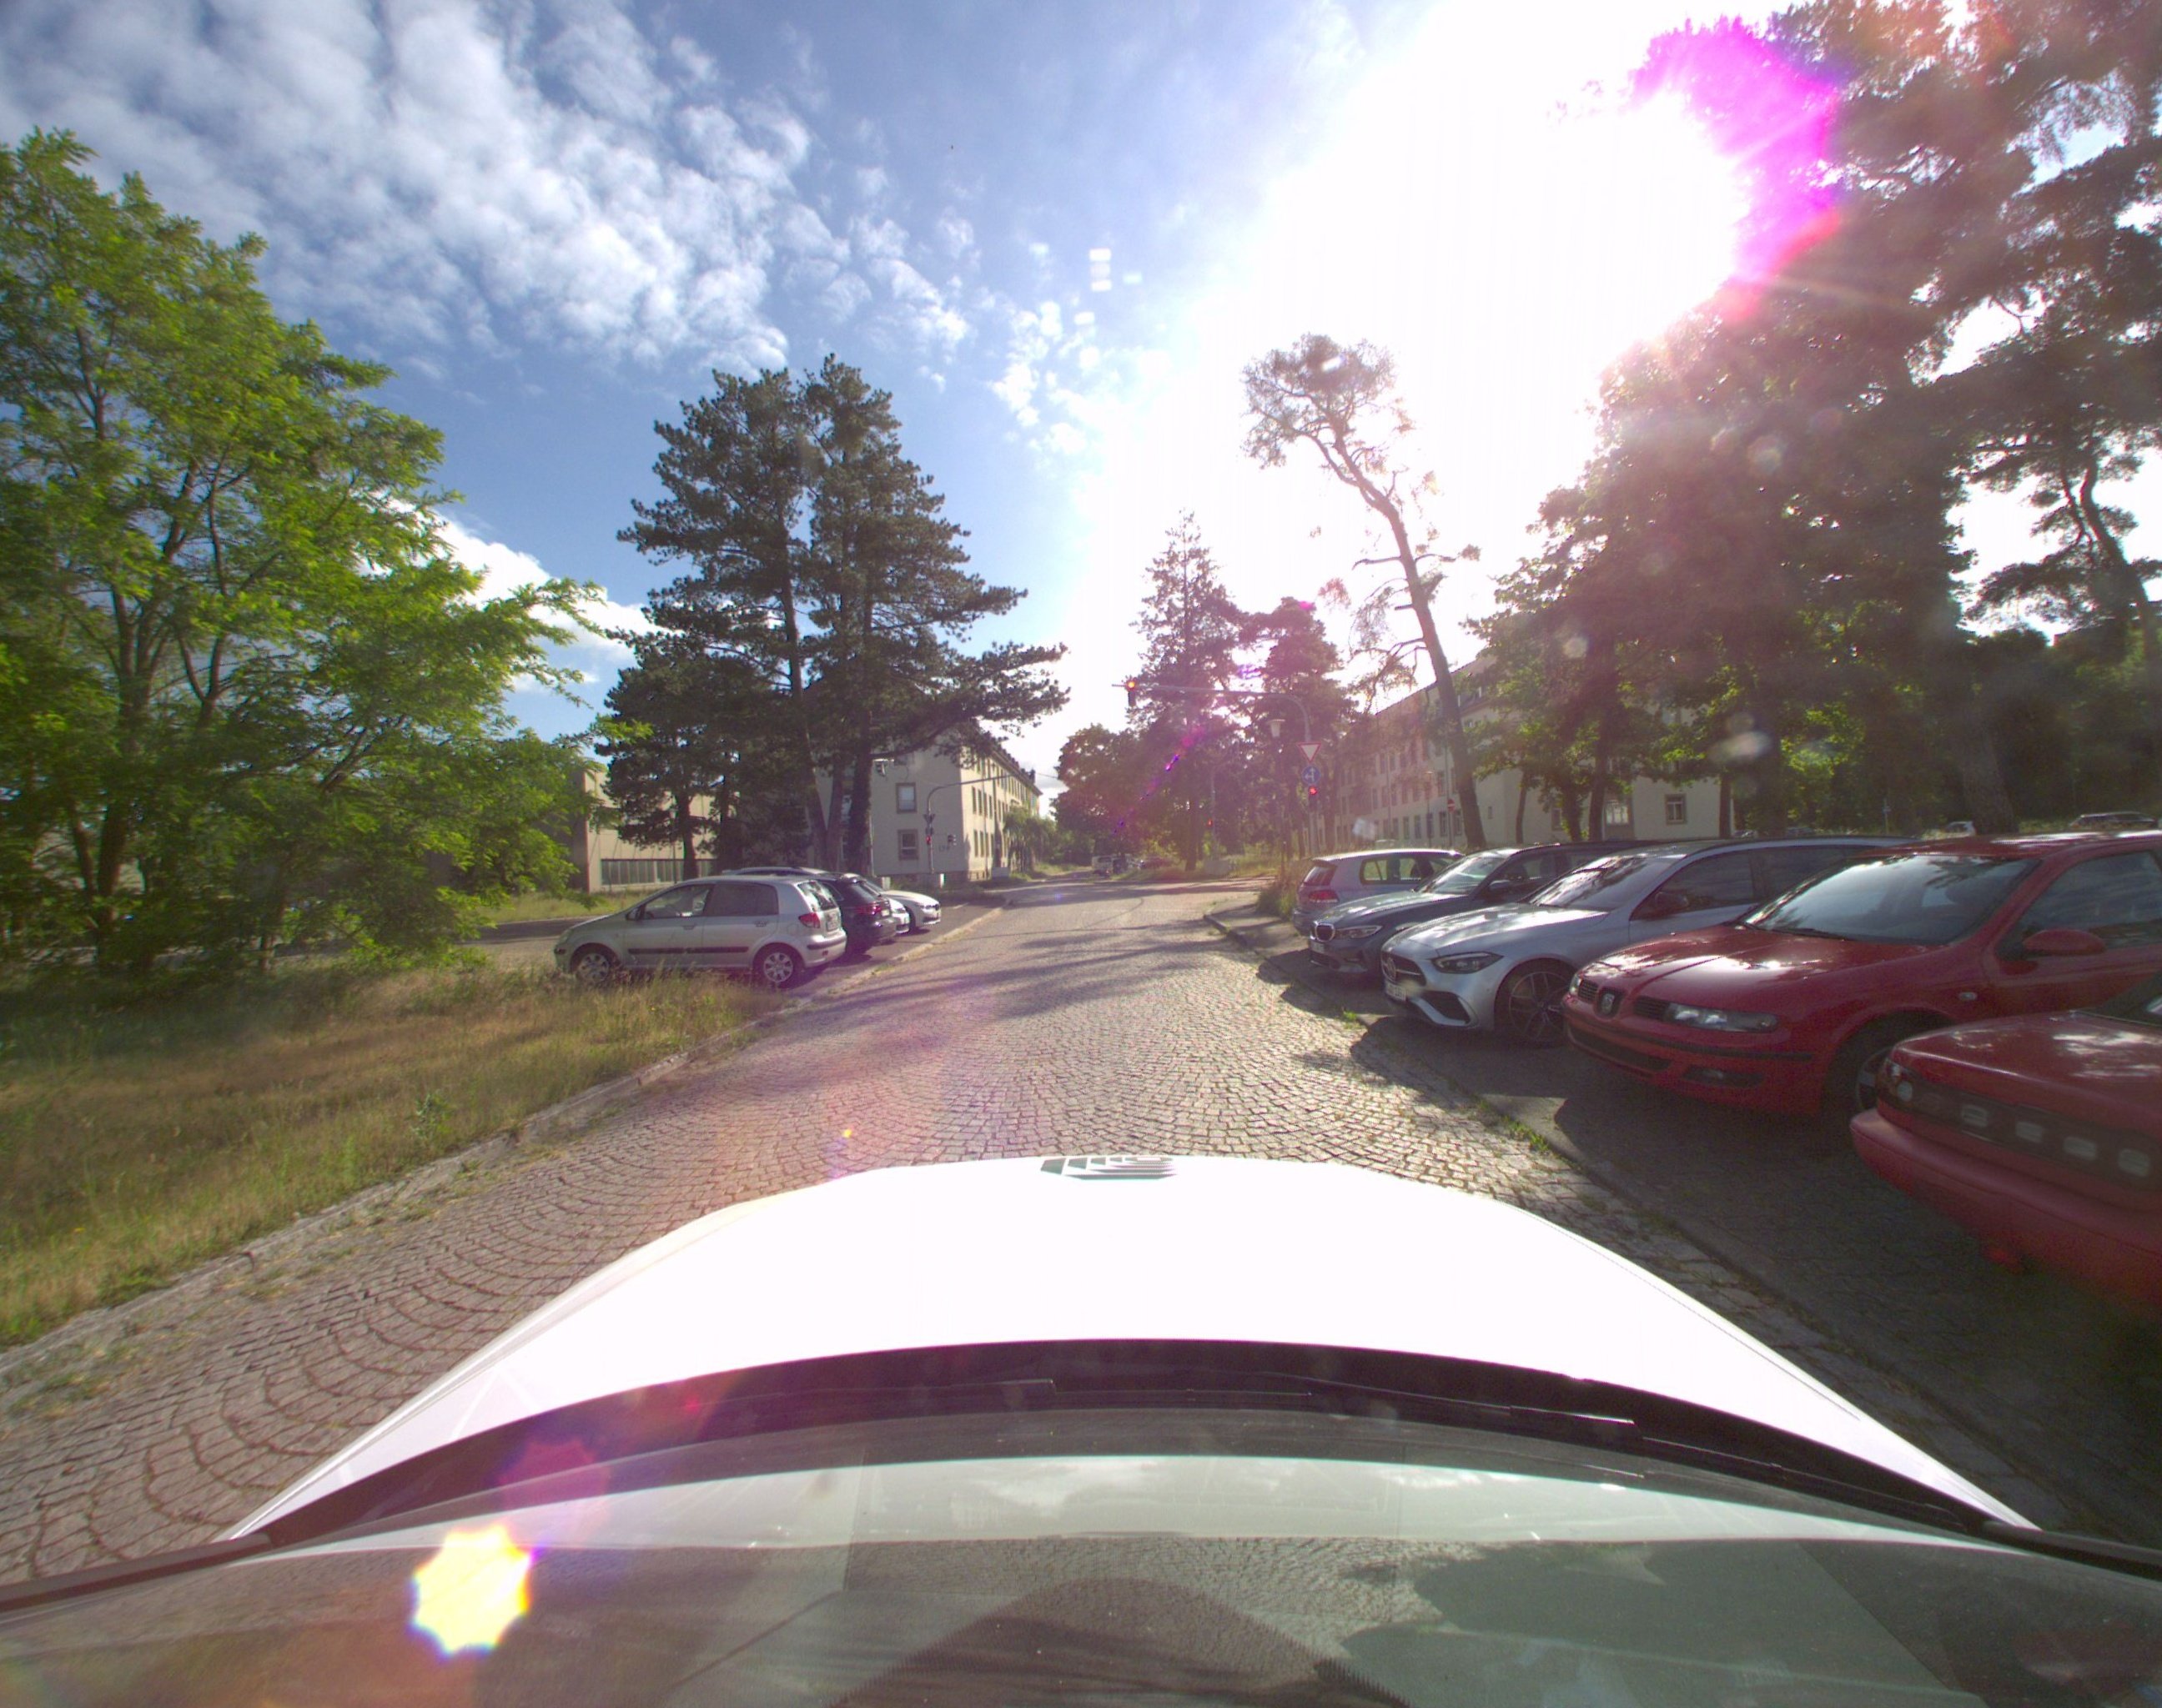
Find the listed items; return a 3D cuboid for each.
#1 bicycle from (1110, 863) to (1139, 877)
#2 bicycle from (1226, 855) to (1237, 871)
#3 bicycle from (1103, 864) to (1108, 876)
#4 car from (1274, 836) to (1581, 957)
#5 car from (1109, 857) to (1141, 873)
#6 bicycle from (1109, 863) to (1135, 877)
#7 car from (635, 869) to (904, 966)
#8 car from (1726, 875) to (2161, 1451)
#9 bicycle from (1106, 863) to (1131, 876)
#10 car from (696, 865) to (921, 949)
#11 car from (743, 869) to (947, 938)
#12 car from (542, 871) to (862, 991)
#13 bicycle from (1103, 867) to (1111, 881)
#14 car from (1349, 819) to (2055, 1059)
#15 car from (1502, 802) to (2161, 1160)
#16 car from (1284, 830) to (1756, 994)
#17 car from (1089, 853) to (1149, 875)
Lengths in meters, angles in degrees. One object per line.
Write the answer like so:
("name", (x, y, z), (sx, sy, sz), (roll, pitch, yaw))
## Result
("bicycle", (3.269, 1.189, 61.236), (2.106, 1.010, 0.619), (-1, -1, -6))
("bicycle", (9.060, 0.565, 48.988), (0.300, 0.961, 1.585), (-1, -1, -1))
("bicycle", (2.126, 1.401, 70.881), (0.415, 1.010, 1.484), (-1, -1, 3))
("car", (5.065, 0.599, 12.288), (3.867, 1.415, 1.637), (-4, 0, 2))
("car", (4.100, 1.044, 75.703), (2.775, 1.467, 1.669), (-1, -1, -3))
("bicycle", (3.164, 1.216, 62.953), (2.002, 1.010, 0.631), (-1, -1, -6))
("car", (-5.290, 1.057, 14.229), (3.976, 1.480, 1.802), (-1, 0, -2))
("car", (4.416, 0.683, 2.318), (3.693, 1.223, 1.747), (-4, 0, 2))
("bicycle", (2.975, 1.245, 64.715), (1.835, 1.010, 0.634), (-1, -1, -6))
("car", (-5.617, 1.061, 17.200), (4.069, 1.593, 1.884), (-1, 0, -2))
("car", (-5.540, 1.150, 19.522), (4.321, 1.468, 1.830), (-1, 0, -2))
("car", (-5.209, 1.028, 11.561), (3.735, 1.487, 1.645), (-1, 0, -2))
("bicycle", (1.858, 1.396, 57.631), (0.466, 1.010, 1.585), (-1, -1, -1))
("car", (4.764, 0.622, 6.795), (4.415, 1.415, 1.782), (-4, 0, 2))
("car", (4.889, 0.554, 4.580), (4.111, 1.449, 1.637), (-4, 0, 2))
("car", (4.868, 0.620, 9.510), (4.542, 1.415, 1.637), (-4, 0, 2))
("car", (3.708, 0.958, 79.201), (5.533, 2.014, 1.989), (-1, -1, -16))
